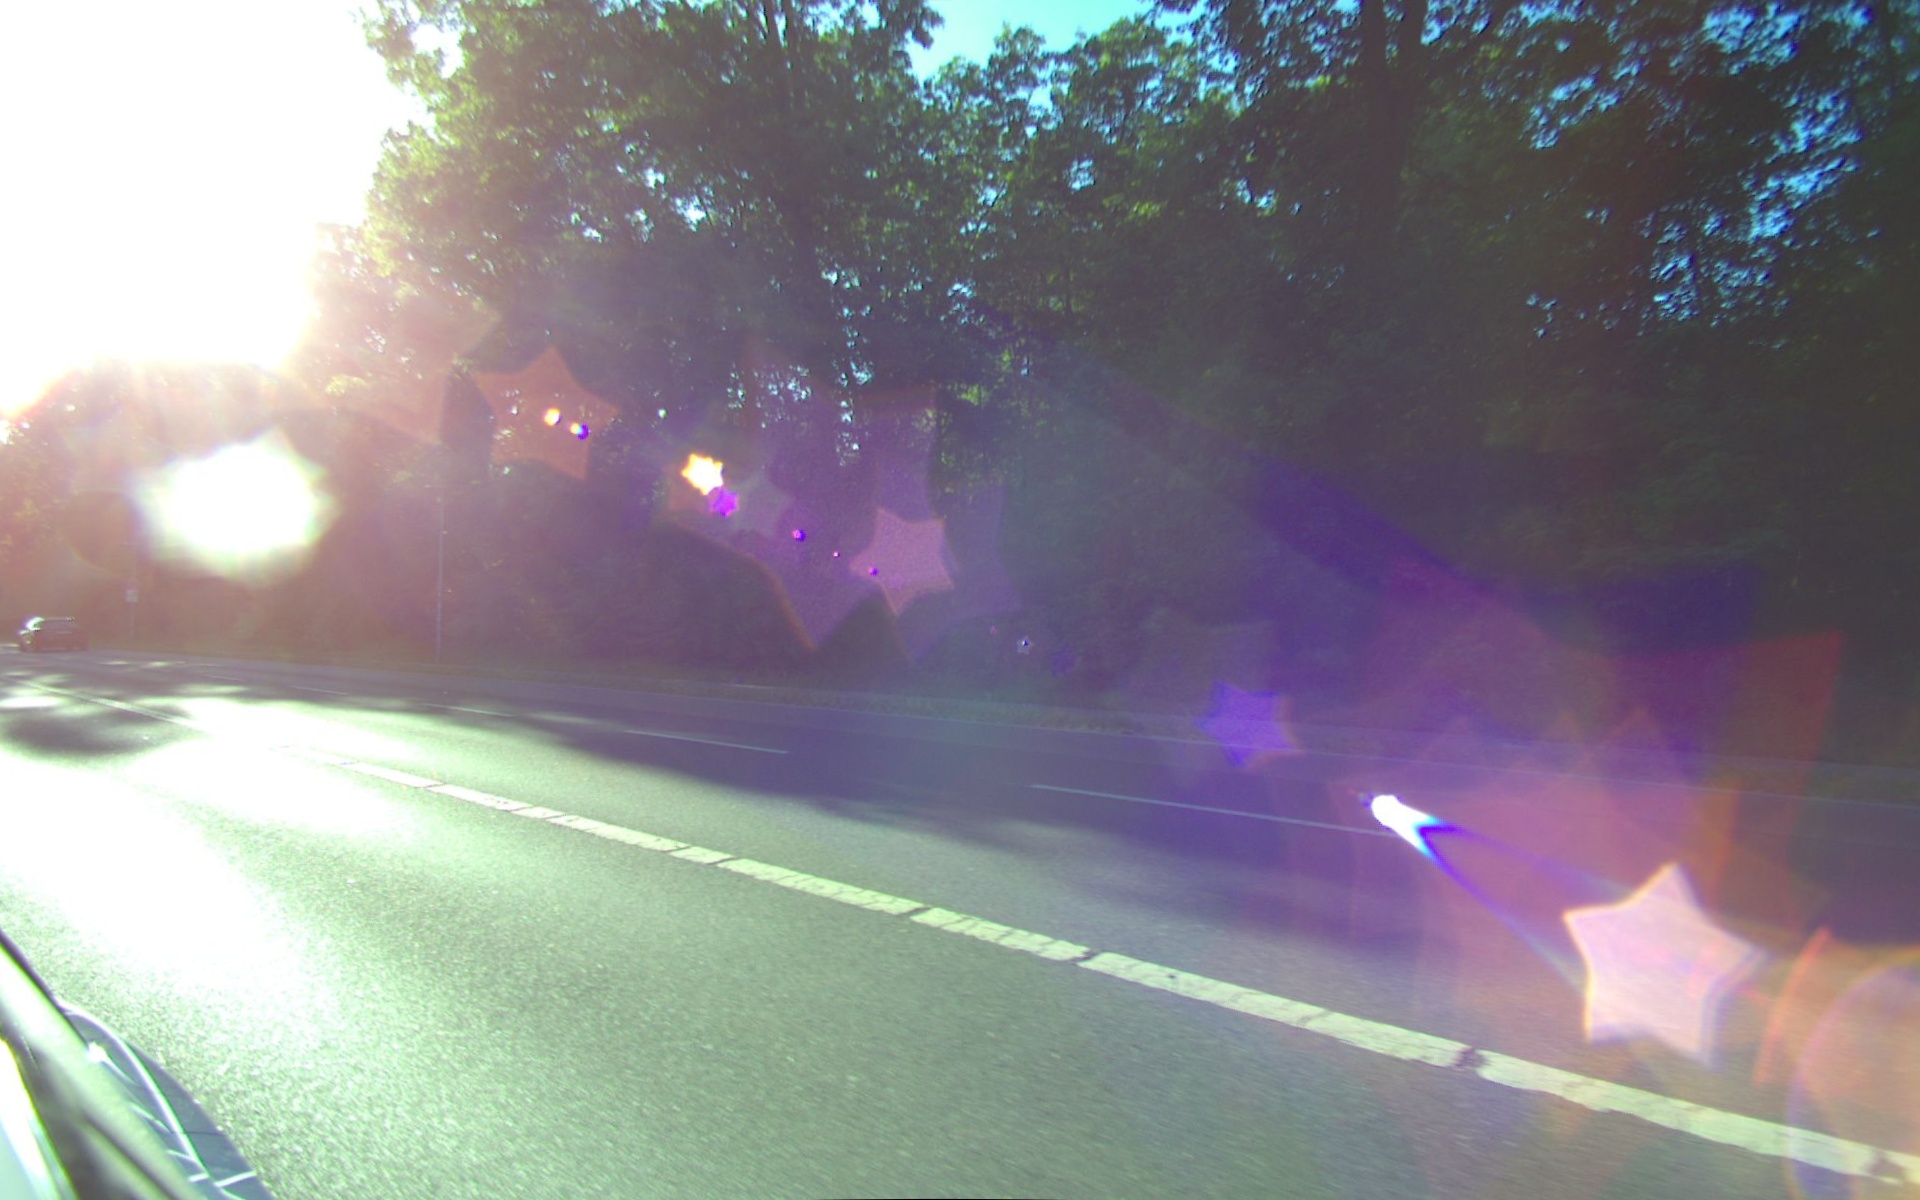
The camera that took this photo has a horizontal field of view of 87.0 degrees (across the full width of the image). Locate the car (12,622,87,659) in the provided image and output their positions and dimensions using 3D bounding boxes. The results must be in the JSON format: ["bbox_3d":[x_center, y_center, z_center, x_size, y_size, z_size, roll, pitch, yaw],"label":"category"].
[{"bbox_3d":[-37.725,1.653,41.914,4.126,1.434,1.693,-1,-2,39],"label":"car"}]
